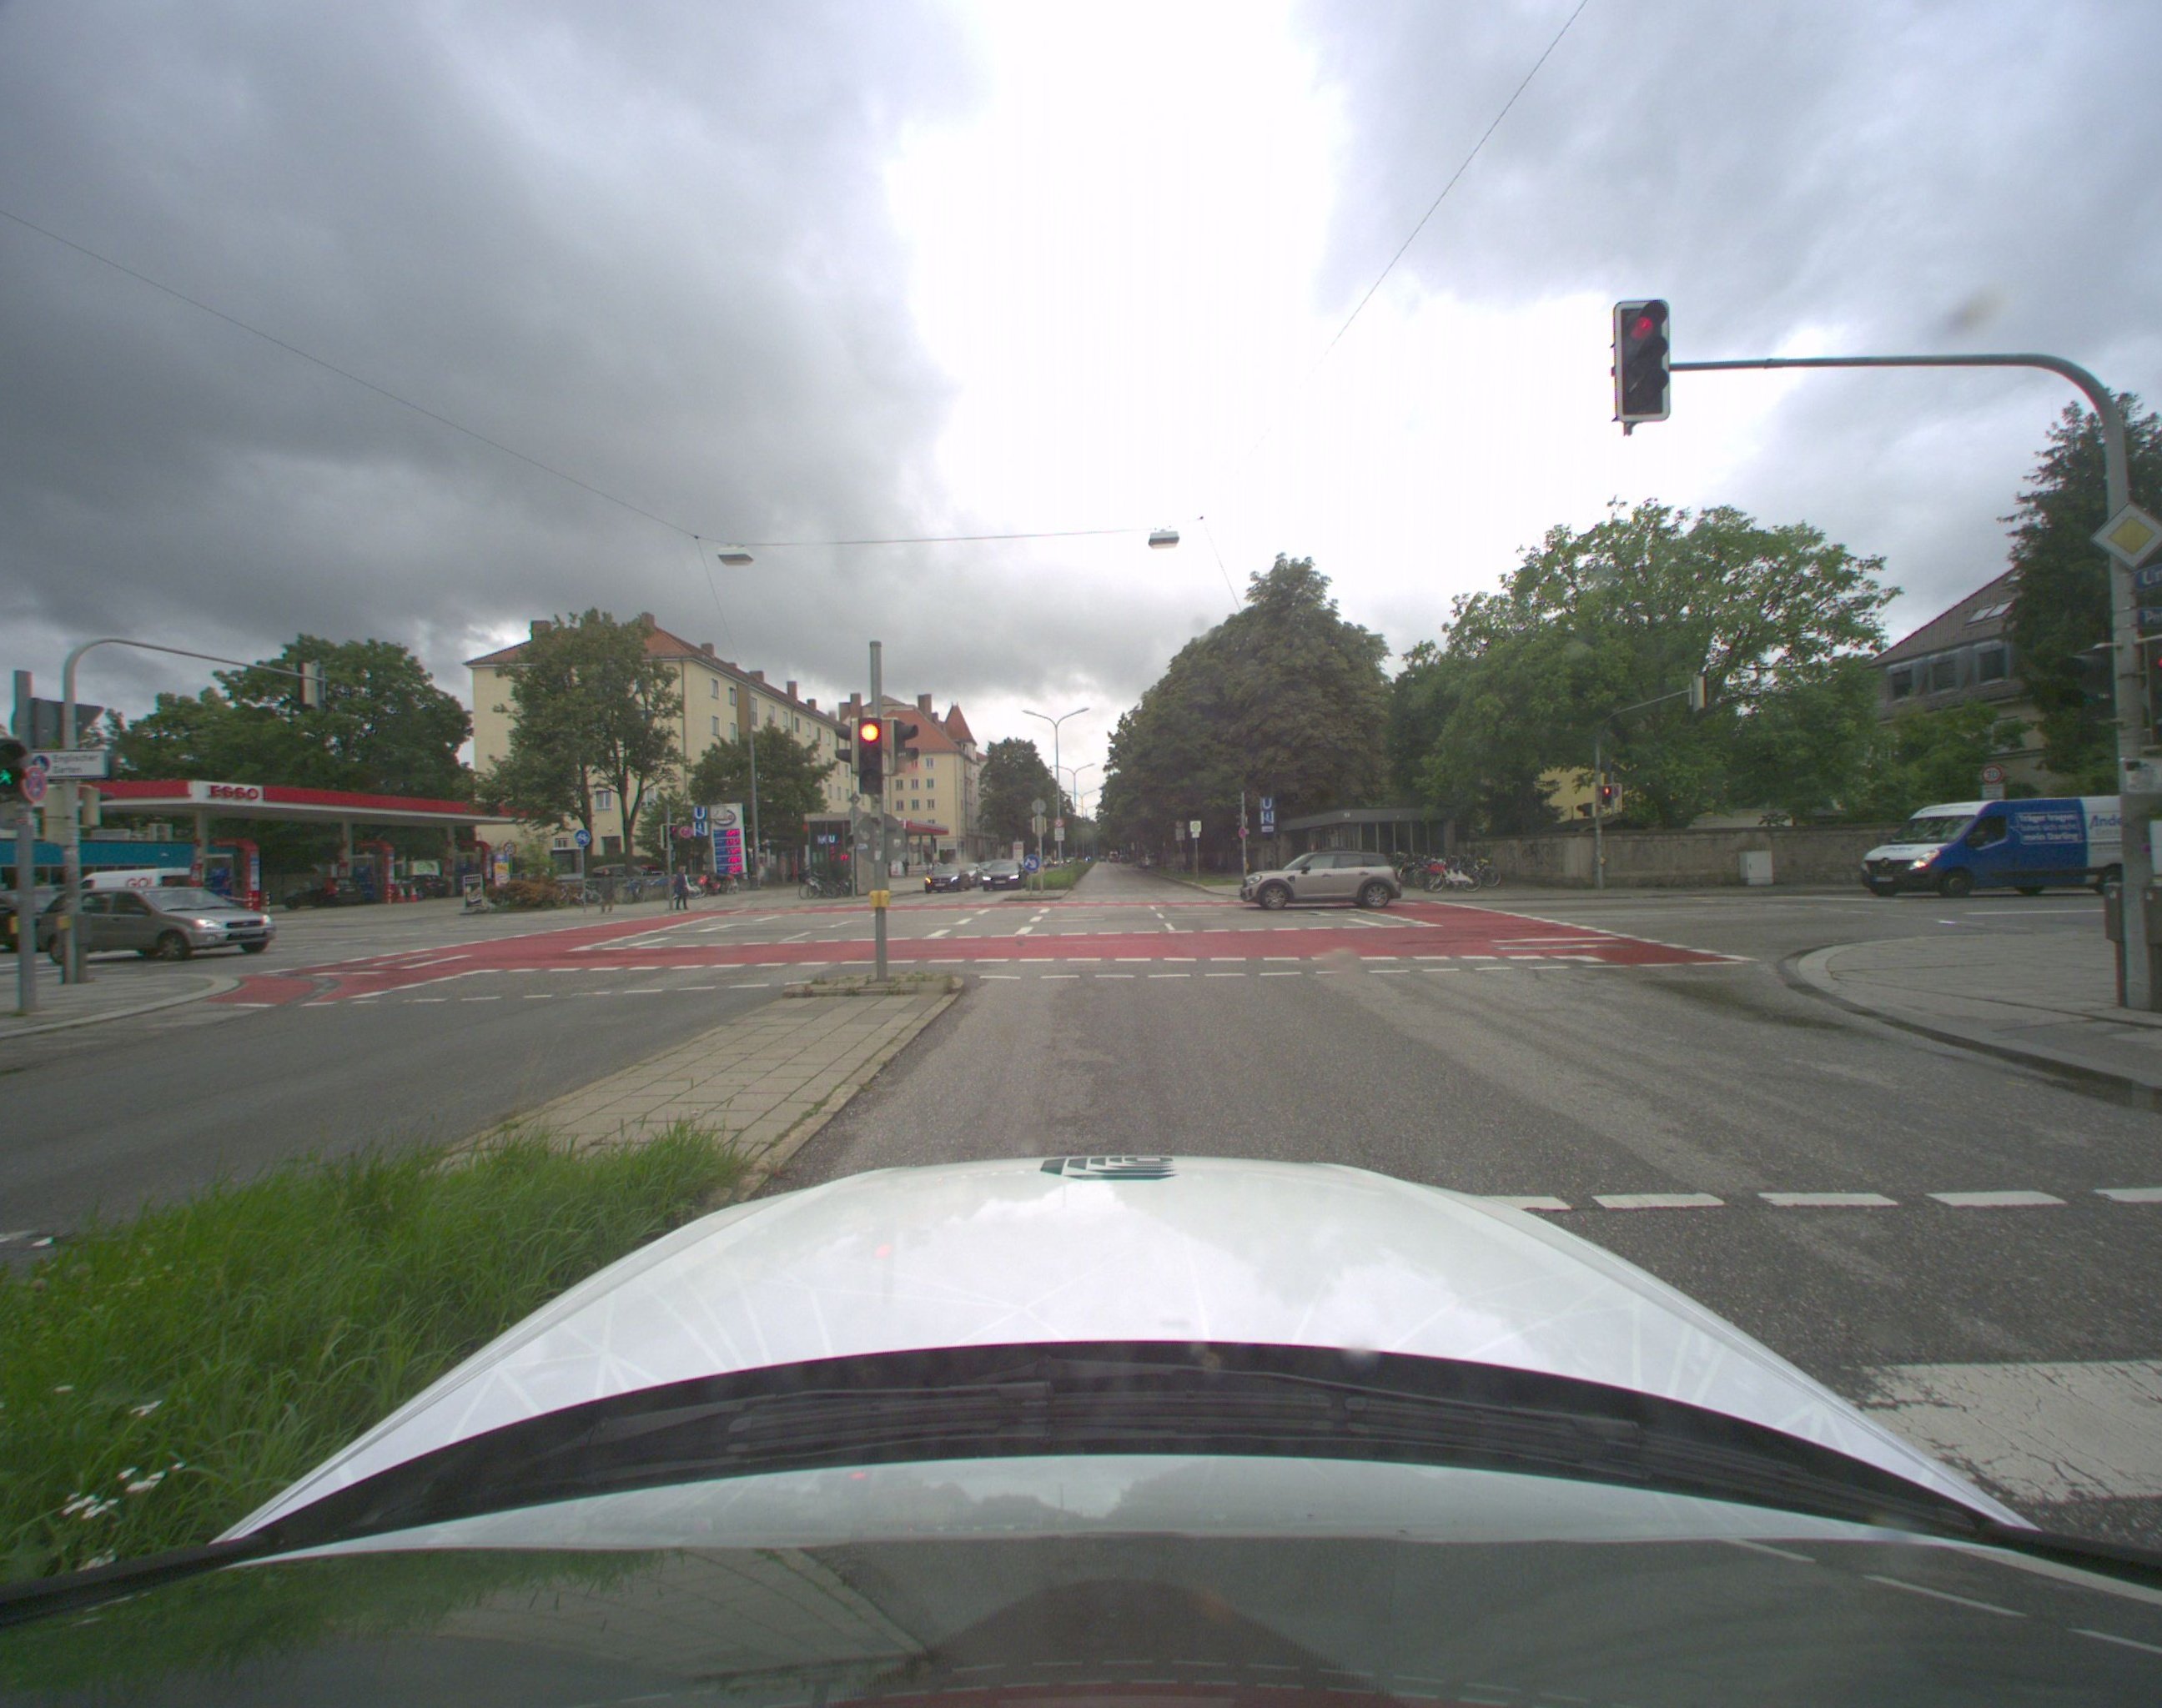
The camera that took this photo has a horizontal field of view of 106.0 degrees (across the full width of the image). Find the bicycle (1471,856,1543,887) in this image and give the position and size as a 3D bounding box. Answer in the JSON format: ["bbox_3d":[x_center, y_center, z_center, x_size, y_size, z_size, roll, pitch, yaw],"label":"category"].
[{"bbox_3d":[14.893,0.606,28.527,2.130,1.014,0.636,-2,0,9],"label":"bicycle"}]

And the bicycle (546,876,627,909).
[{"bbox_3d":[-19.589,1.509,32.339,2.720,1.251,0.786,0,-1,-29],"label":"bicycle"}]

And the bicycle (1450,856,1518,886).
[{"bbox_3d":[14.862,0.619,30.090,2.130,1.014,0.636,-2,0,9],"label":"bicycle"}]

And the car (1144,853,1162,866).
[{"bbox_3d":[7.912,0.603,89.765,1.737,1.363,3.807,-2,0,1],"label":"car"}]

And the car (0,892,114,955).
[{"bbox_3d":[-27.020,1.762,20.467,3.532,1.412,1.666,-2,0,3],"label":"car"}]

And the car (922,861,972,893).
[{"bbox_3d":[-6.807,1.138,41.831,1.753,1.460,4.001,-2,0,1],"label":"car"}]

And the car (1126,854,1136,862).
[{"bbox_3d":[9.821,0.716,159.485,1.737,1.427,3.900,-2,0,1],"label":"car"}]

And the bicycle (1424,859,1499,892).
[{"bbox_3d":[12.515,0.713,26.847,2.130,1.014,0.604,-2,0,9],"label":"bicycle"}]

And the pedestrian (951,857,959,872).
[{"bbox_3d":[-13.791,1.117,88.863,0.693,1.638,0.738,-2,0,1],"label":"pedestrian"}]

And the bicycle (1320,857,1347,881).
[{"bbox_3d":[11.131,0.648,35.963,0.555,1.014,2.015,-2,0,0],"label":"bicycle"}]

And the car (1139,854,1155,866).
[{"bbox_3d":[8.104,0.745,99.729,1.737,1.363,3.807,-2,0,1],"label":"car"}]

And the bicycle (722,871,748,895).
[{"bbox_3d":[-17.407,1.438,41.025,0.607,1.145,1.962,-2,0,-5],"label":"bicycle"}]

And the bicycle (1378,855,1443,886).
[{"bbox_3d":[12.291,0.599,30.430,2.130,1.086,0.604,-2,0,9],"label":"bicycle"}]

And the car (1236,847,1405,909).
[{"bbox_3d":[6.440,0.631,22.271,4.149,1.514,1.697,-2,0,4],"label":"car"}]

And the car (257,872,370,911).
[{"bbox_3d":[-39.521,1.918,41.998,3.973,1.784,1.858,-2,0,1],"label":"car"}]

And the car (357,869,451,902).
[{"bbox_3d":[-40.313,1.877,48.530,3.973,1.784,1.858,-2,0,1],"label":"car"}]

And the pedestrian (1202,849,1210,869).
[{"bbox_3d":[10.520,0.444,68.533,0.674,1.682,0.684,-2,0,7],"label":"pedestrian"}]

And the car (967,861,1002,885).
[{"bbox_3d":[-6.474,1.263,55.051,1.753,1.460,4.001,-2,0,1],"label":"car"}]

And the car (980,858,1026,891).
[{"bbox_3d":[-3.836,0.979,40.574,1.753,1.493,4.001,-2,0,1],"label":"car"}]

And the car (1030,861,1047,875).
[{"bbox_3d":[-5.105,1.690,98.030,1.753,1.493,4.001,-2,0,1],"label":"car"}]

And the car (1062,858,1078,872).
[{"bbox_3d":[-1.115,1.115,85.339,1.463,1.399,3.701,-2,0,1],"label":"car"}]

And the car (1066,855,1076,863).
[{"bbox_3d":[-2.310,1.110,185.325,1.945,1.823,4.002,-2,0,2],"label":"car"}]

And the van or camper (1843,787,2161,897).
[{"bbox_3d":[23.244,-0.282,20.734,5.529,2.469,2.069,-2,0,3],"label":"van or camper"}]

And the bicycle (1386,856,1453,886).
[{"bbox_3d":[12.303,0.630,29.653,2.130,1.014,0.604,-2,0,9],"label":"bicycle"}]

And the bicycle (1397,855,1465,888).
[{"bbox_3d":[12.412,0.618,28.936,2.130,1.101,0.604,-2,0,9],"label":"bicycle"}]

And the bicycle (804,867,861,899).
[{"bbox_3d":[-10.977,1.289,36.046,2.276,1.304,0.694,-2,0,2],"label":"bicycle"}]

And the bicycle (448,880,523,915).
[{"bbox_3d":[-22.829,1.652,31.230,2.179,1.236,0.764,-2,0,-8],"label":"bicycle"}]

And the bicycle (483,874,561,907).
[{"bbox_3d":[-21.883,1.423,31.941,2.394,1.251,0.789,0,-1,-10],"label":"bicycle"}]

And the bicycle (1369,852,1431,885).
[{"bbox_3d":[12.172,0.557,31.124,2.130,1.178,0.604,-2,0,9],"label":"bicycle"}]

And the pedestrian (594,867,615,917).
[{"bbox_3d":[-16.703,1.313,28.561,0.593,1.695,0.571,-1,0,-29],"label":"pedestrian"}]

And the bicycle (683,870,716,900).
[{"bbox_3d":[-17.250,1.392,36.866,0.607,1.236,2.183,-2,0,-5],"label":"bicycle"}]

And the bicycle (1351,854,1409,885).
[{"bbox_3d":[12.238,0.623,33.425,2.130,1.218,0.604,-2,0,9],"label":"bicycle"}]

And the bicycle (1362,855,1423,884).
[{"bbox_3d":[12.163,0.622,31.826,2.130,1.062,0.604,-2,0,9],"label":"bicycle"}]

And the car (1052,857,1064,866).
[{"bbox_3d":[-4.012,1.359,142.175,1.753,1.460,4.001,-2,0,1],"label":"car"}]

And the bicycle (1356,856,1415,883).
[{"bbox_3d":[12.217,0.611,32.706,2.130,1.014,0.604,-2,0,9],"label":"bicycle"}]

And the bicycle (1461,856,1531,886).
[{"bbox_3d":[14.921,0.614,29.294,2.130,1.014,0.636,-2,0,9],"label":"bicycle"}]

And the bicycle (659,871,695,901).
[{"bbox_3d":[-17.863,1.406,36.057,0.607,1.236,2.183,-2,0,-5],"label":"bicycle"}]

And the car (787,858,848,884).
[{"bbox_3d":[-20.136,1.273,62.405,3.976,1.838,1.879,-2,0,-2],"label":"car"}]

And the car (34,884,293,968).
[{"bbox_3d":[-19.341,1.487,17.275,3.605,1.517,1.664,-2,0,1],"label":"car"}]

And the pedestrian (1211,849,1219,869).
[{"bbox_3d":[11.291,0.412,68.633,0.674,1.682,0.684,-2,0,7],"label":"pedestrian"}]

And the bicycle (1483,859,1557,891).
[{"bbox_3d":[14.925,0.699,27.728,2.130,1.014,0.636,-2,0,9],"label":"bicycle"}]

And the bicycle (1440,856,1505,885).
[{"bbox_3d":[14.831,0.624,30.876,2.130,1.014,0.636,-2,0,9],"label":"bicycle"}]

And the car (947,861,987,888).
[{"bbox_3d":[-6.785,1.200,48.820,1.753,1.460,4.001,-2,0,1],"label":"car"}]

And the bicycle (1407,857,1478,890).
[{"bbox_3d":[12.532,0.683,28.278,2.130,1.071,0.604,-2,0,9],"label":"bicycle"}]

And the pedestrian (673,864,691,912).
[{"bbox_3d":[-14.526,1.231,29.669,0.536,1.695,0.572,-2,0,-24],"label":"pedestrian"}]

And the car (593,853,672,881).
[{"bbox_3d":[-28.163,0.784,51.173,3.935,1.608,1.819,-2,0,5],"label":"car"}]

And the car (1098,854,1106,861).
[{"bbox_3d":[5.182,0.910,203.699,1.850,1.684,4.001,-2,0,1],"label":"car"}]

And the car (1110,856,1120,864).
[{"bbox_3d":[7.400,1.321,177.886,1.916,1.684,4.001,-2,0,1],"label":"car"}]

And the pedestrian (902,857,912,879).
[{"bbox_3d":[-15.841,1.297,74.135,0.727,2.014,0.835,0,-1,1],"label":"pedestrian"}]

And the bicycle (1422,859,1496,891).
[{"bbox_3d":[12.731,0.698,27.468,2.130,1.014,0.636,-2,0,9],"label":"bicycle"}]

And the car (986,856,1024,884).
[{"bbox_3d":[-4.462,0.916,48.408,1.753,1.493,4.001,-2,0,1],"label":"car"}]

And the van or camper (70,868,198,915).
[{"bbox_3d":[-51.903,2.034,44.713,4.526,2.323,1.917,-2,0,-3],"label":"van or camper"}]

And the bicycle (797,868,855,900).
[{"bbox_3d":[-11.023,1.299,35.267,2.262,1.304,0.704,-2,0,2],"label":"bicycle"}]

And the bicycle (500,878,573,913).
[{"bbox_3d":[-20.895,1.581,31.282,2.180,1.236,0.763,-2,0,-10],"label":"bicycle"}]
